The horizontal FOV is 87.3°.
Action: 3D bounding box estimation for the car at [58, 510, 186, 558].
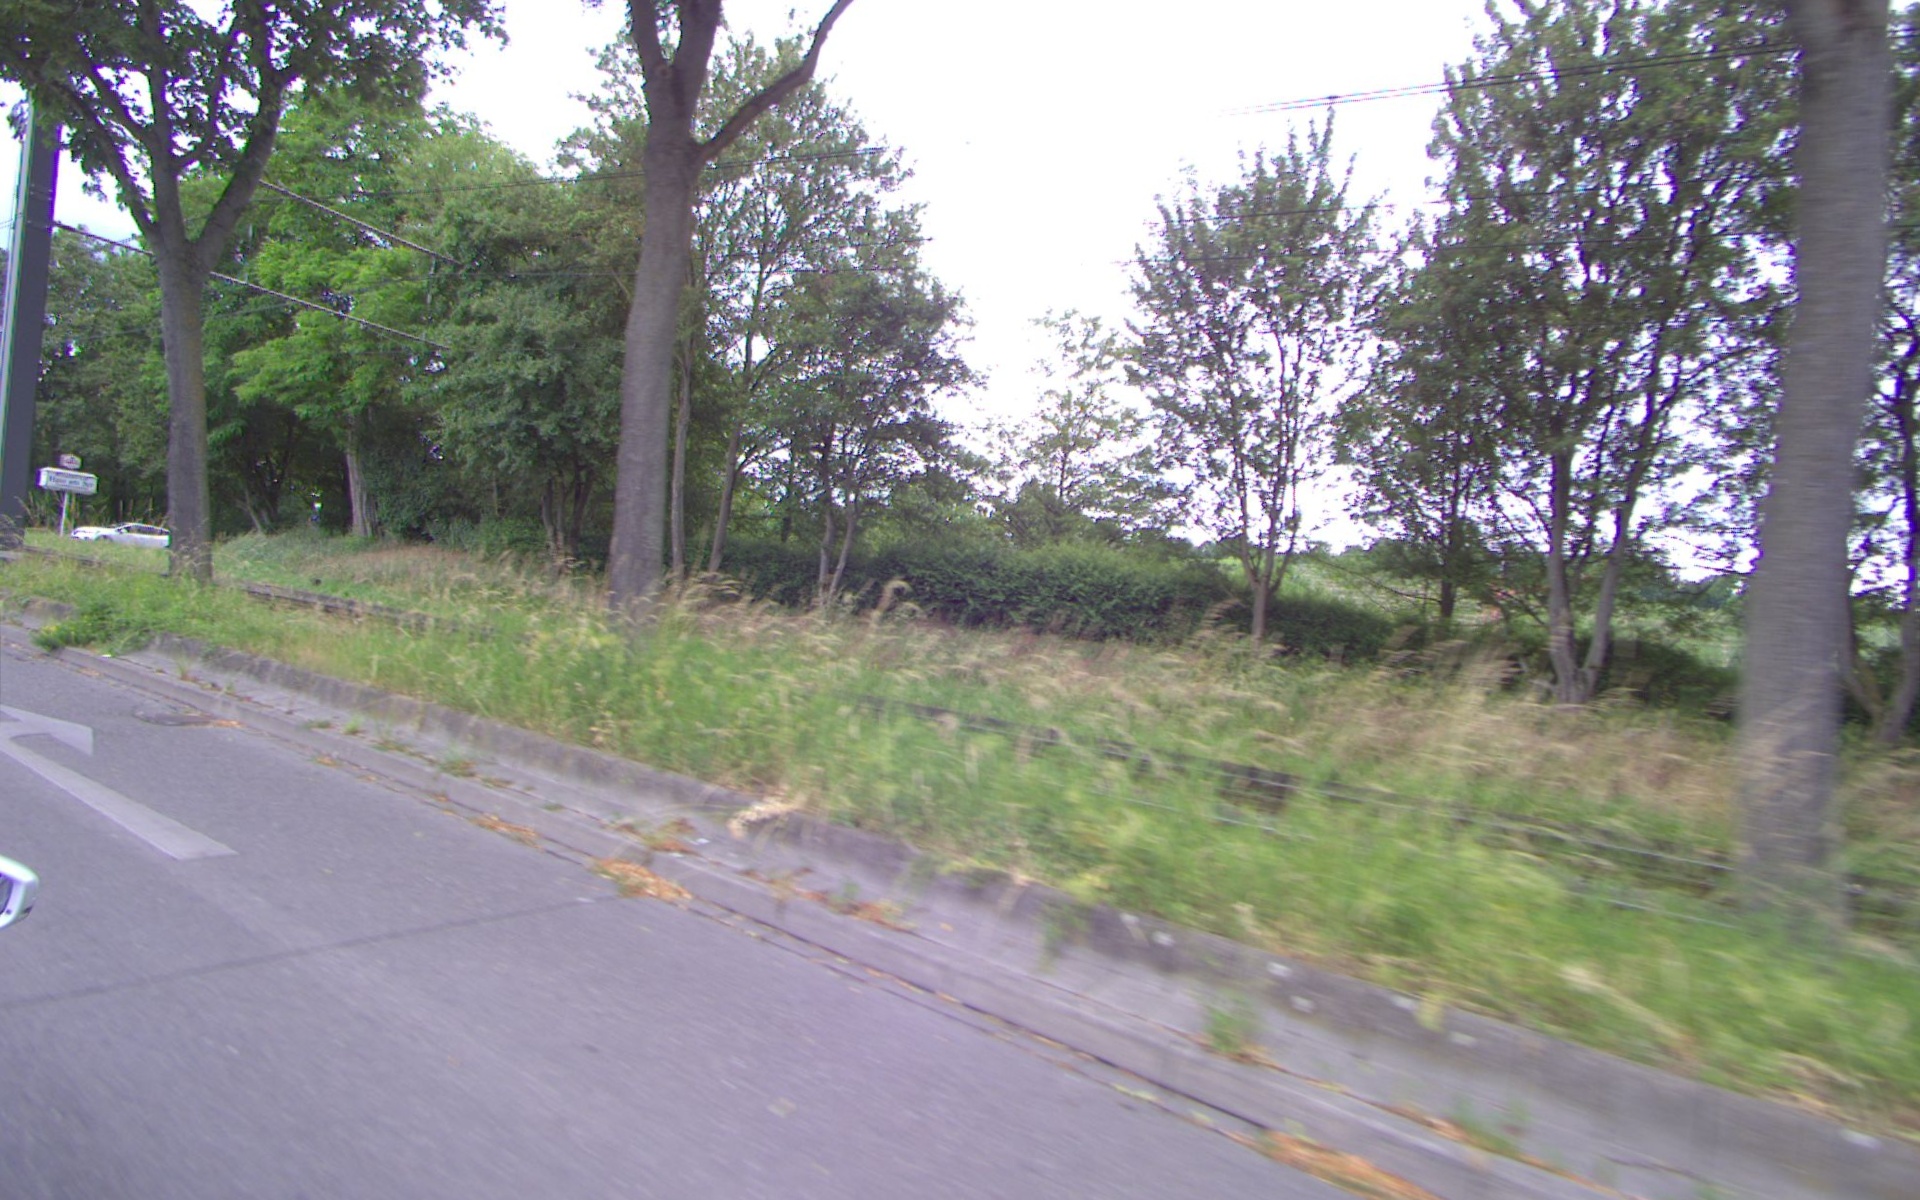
[{"bbox_3d":[-38.897,-3.035,46.801,1.965,1.368,4.004,7,-4,26],"label":"car"}]
